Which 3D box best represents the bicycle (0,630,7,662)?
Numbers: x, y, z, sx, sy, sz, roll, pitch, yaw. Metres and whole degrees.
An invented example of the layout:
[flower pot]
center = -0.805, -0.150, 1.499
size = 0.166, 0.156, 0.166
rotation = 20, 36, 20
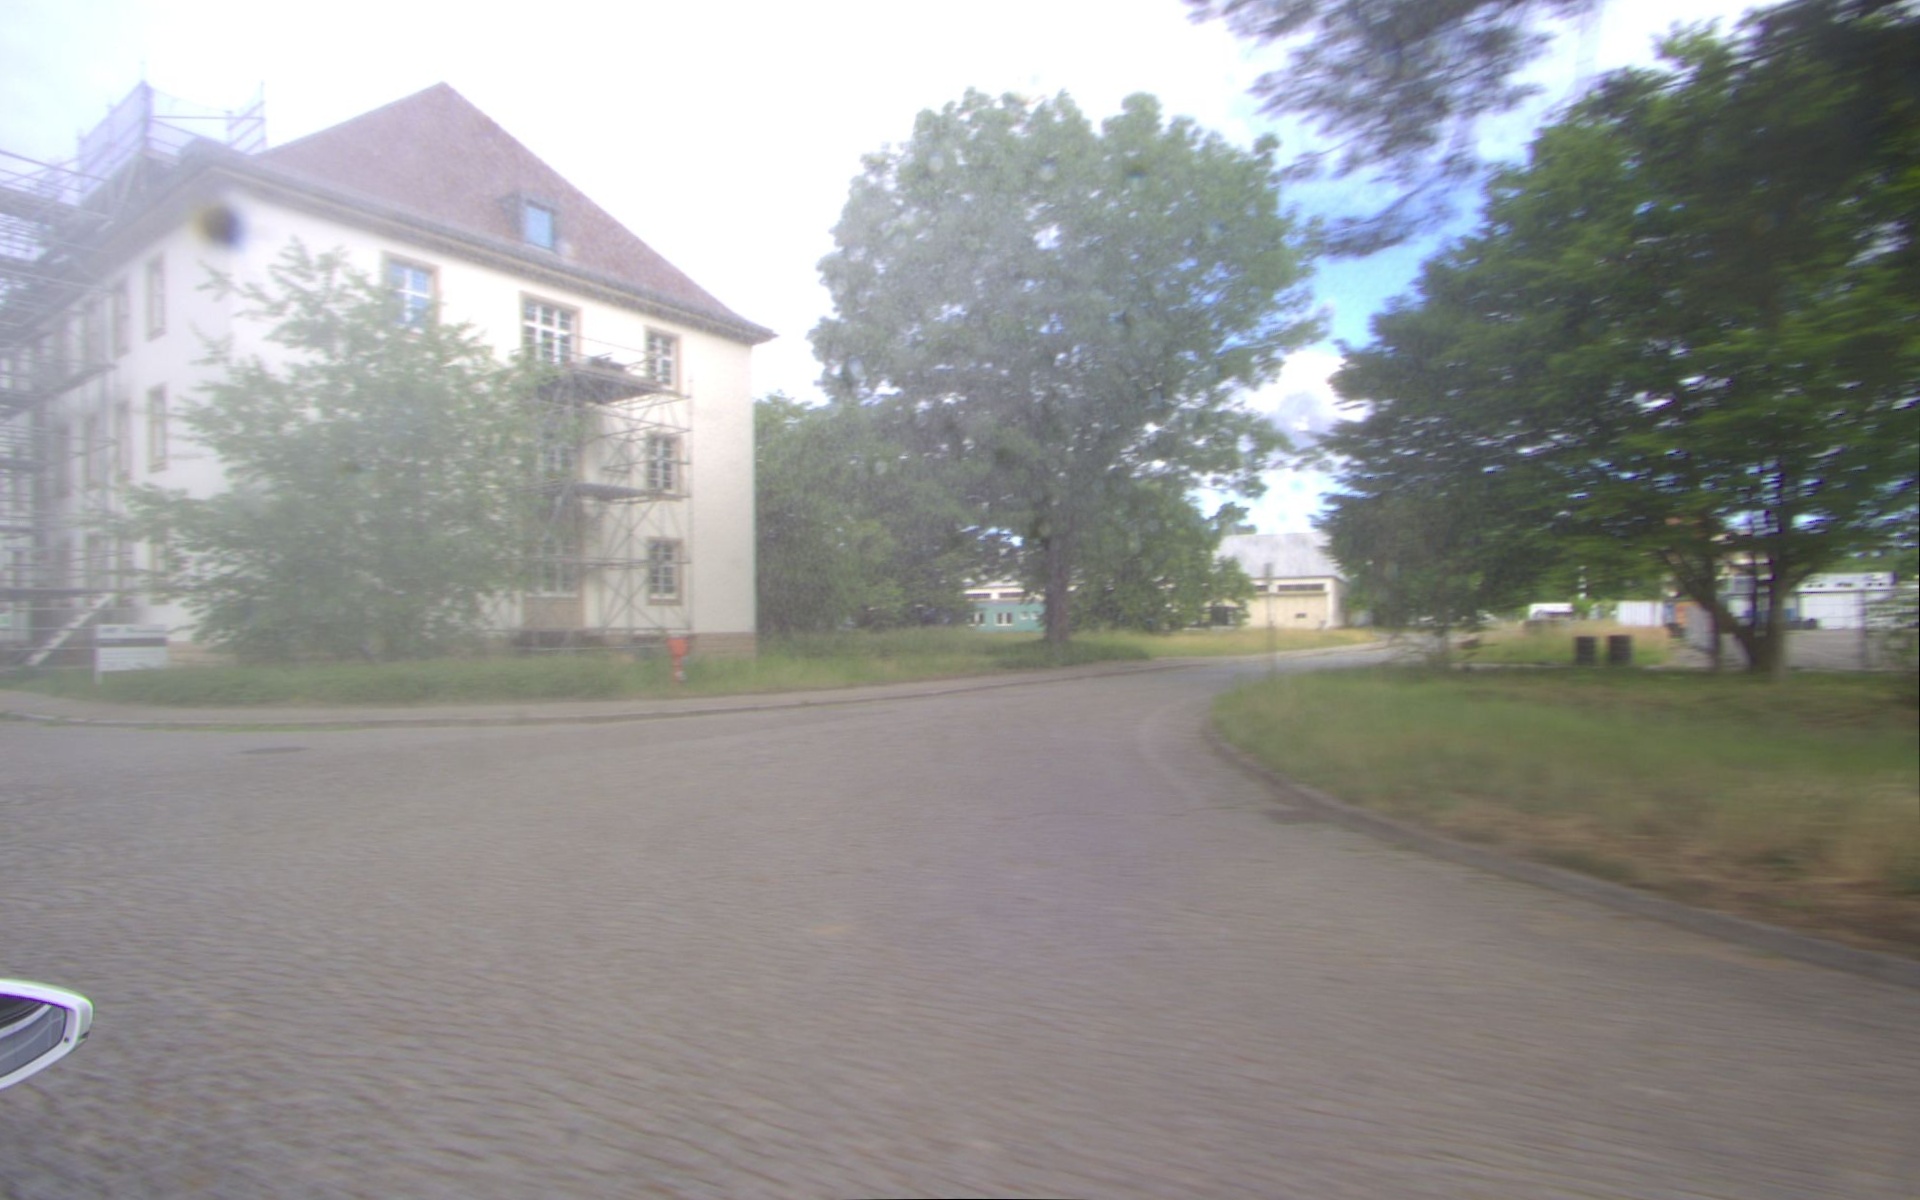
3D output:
[bicycle]
center = -33.913, 1.580, 34.261
size = 0.505, 1.109, 1.846
rotation = -1, -1, 42
